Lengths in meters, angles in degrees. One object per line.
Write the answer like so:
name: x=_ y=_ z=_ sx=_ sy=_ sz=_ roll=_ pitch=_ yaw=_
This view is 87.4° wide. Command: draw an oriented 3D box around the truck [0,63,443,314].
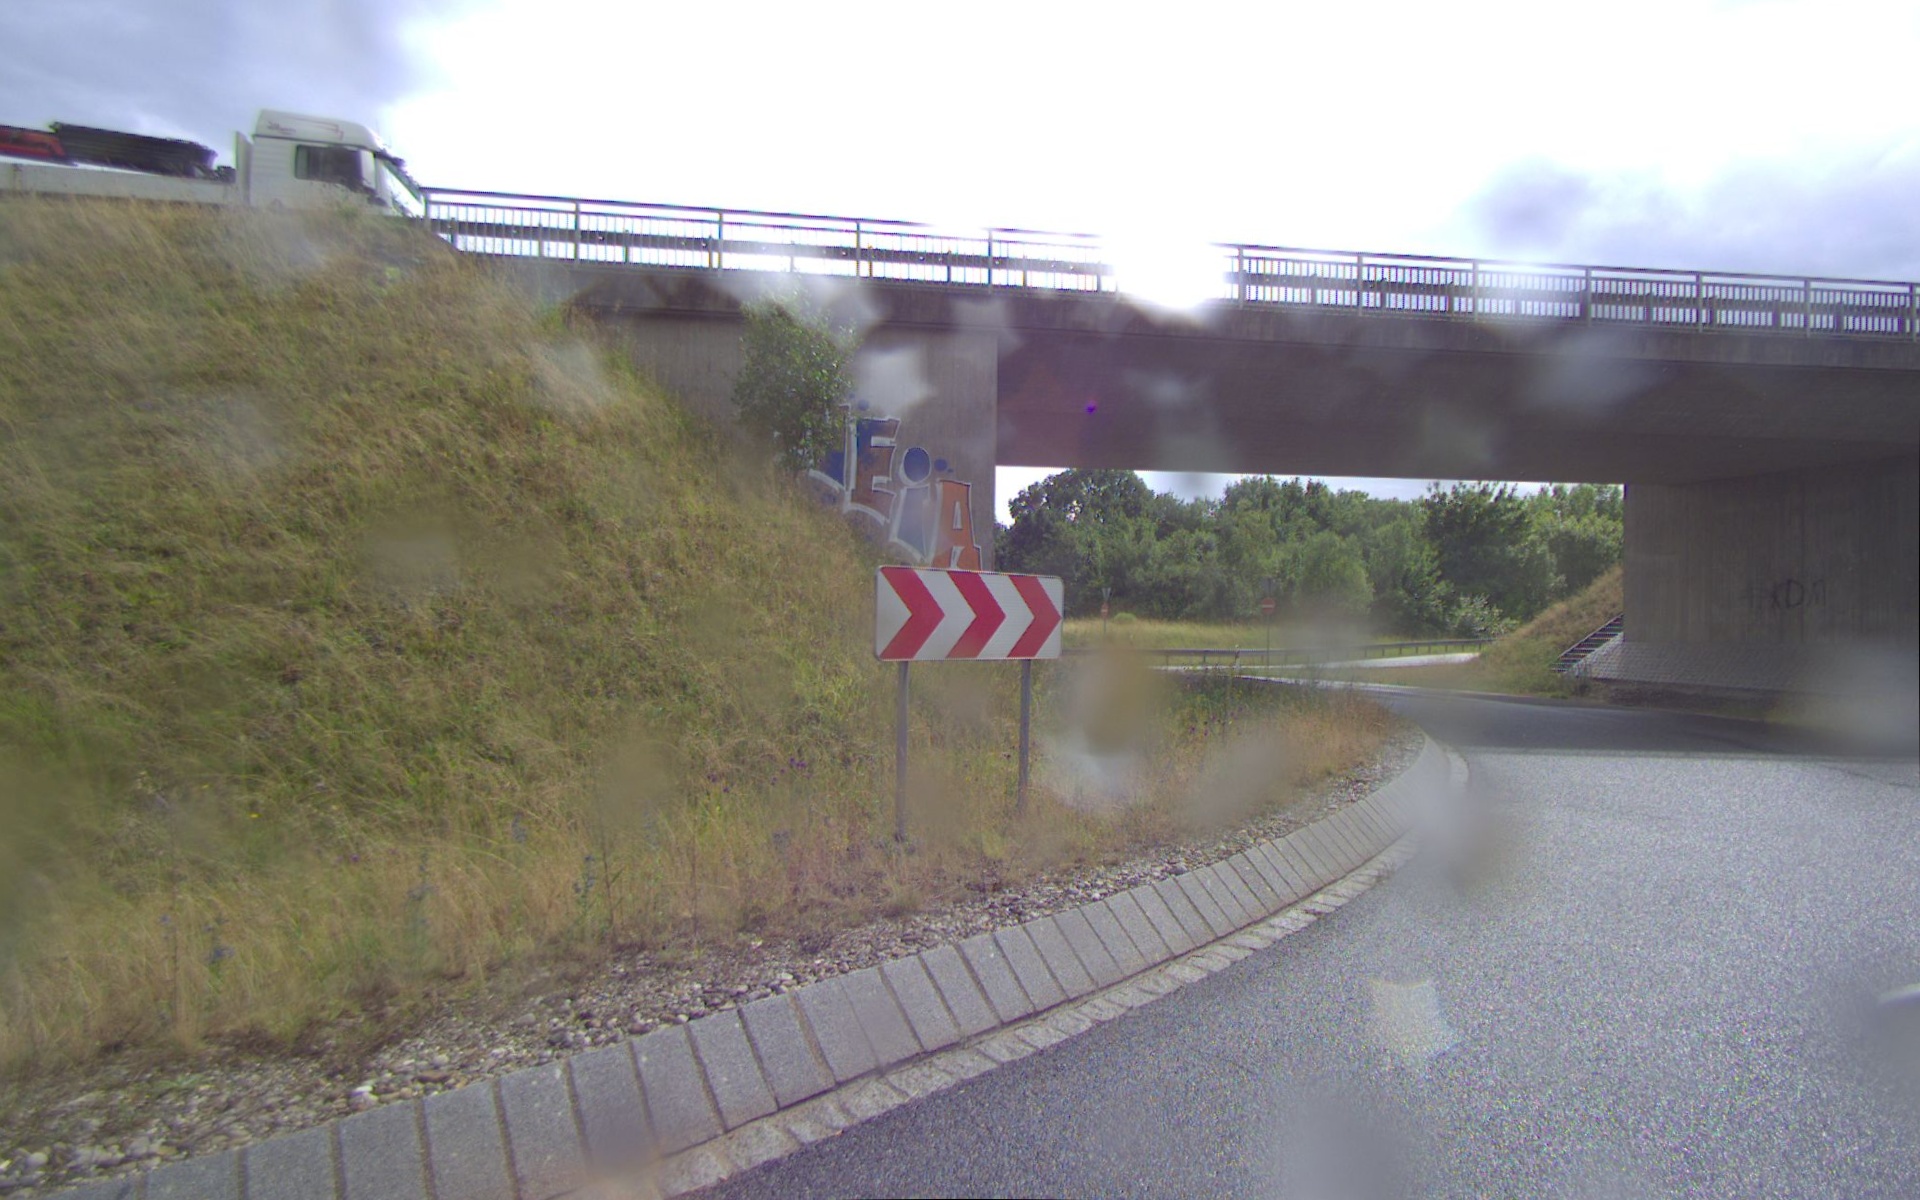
truck: x=-15.059 y=-7.146 z=17.313 sx=10.635 sy=2.912 sz=2.202 roll=2 pitch=0 yaw=-12
